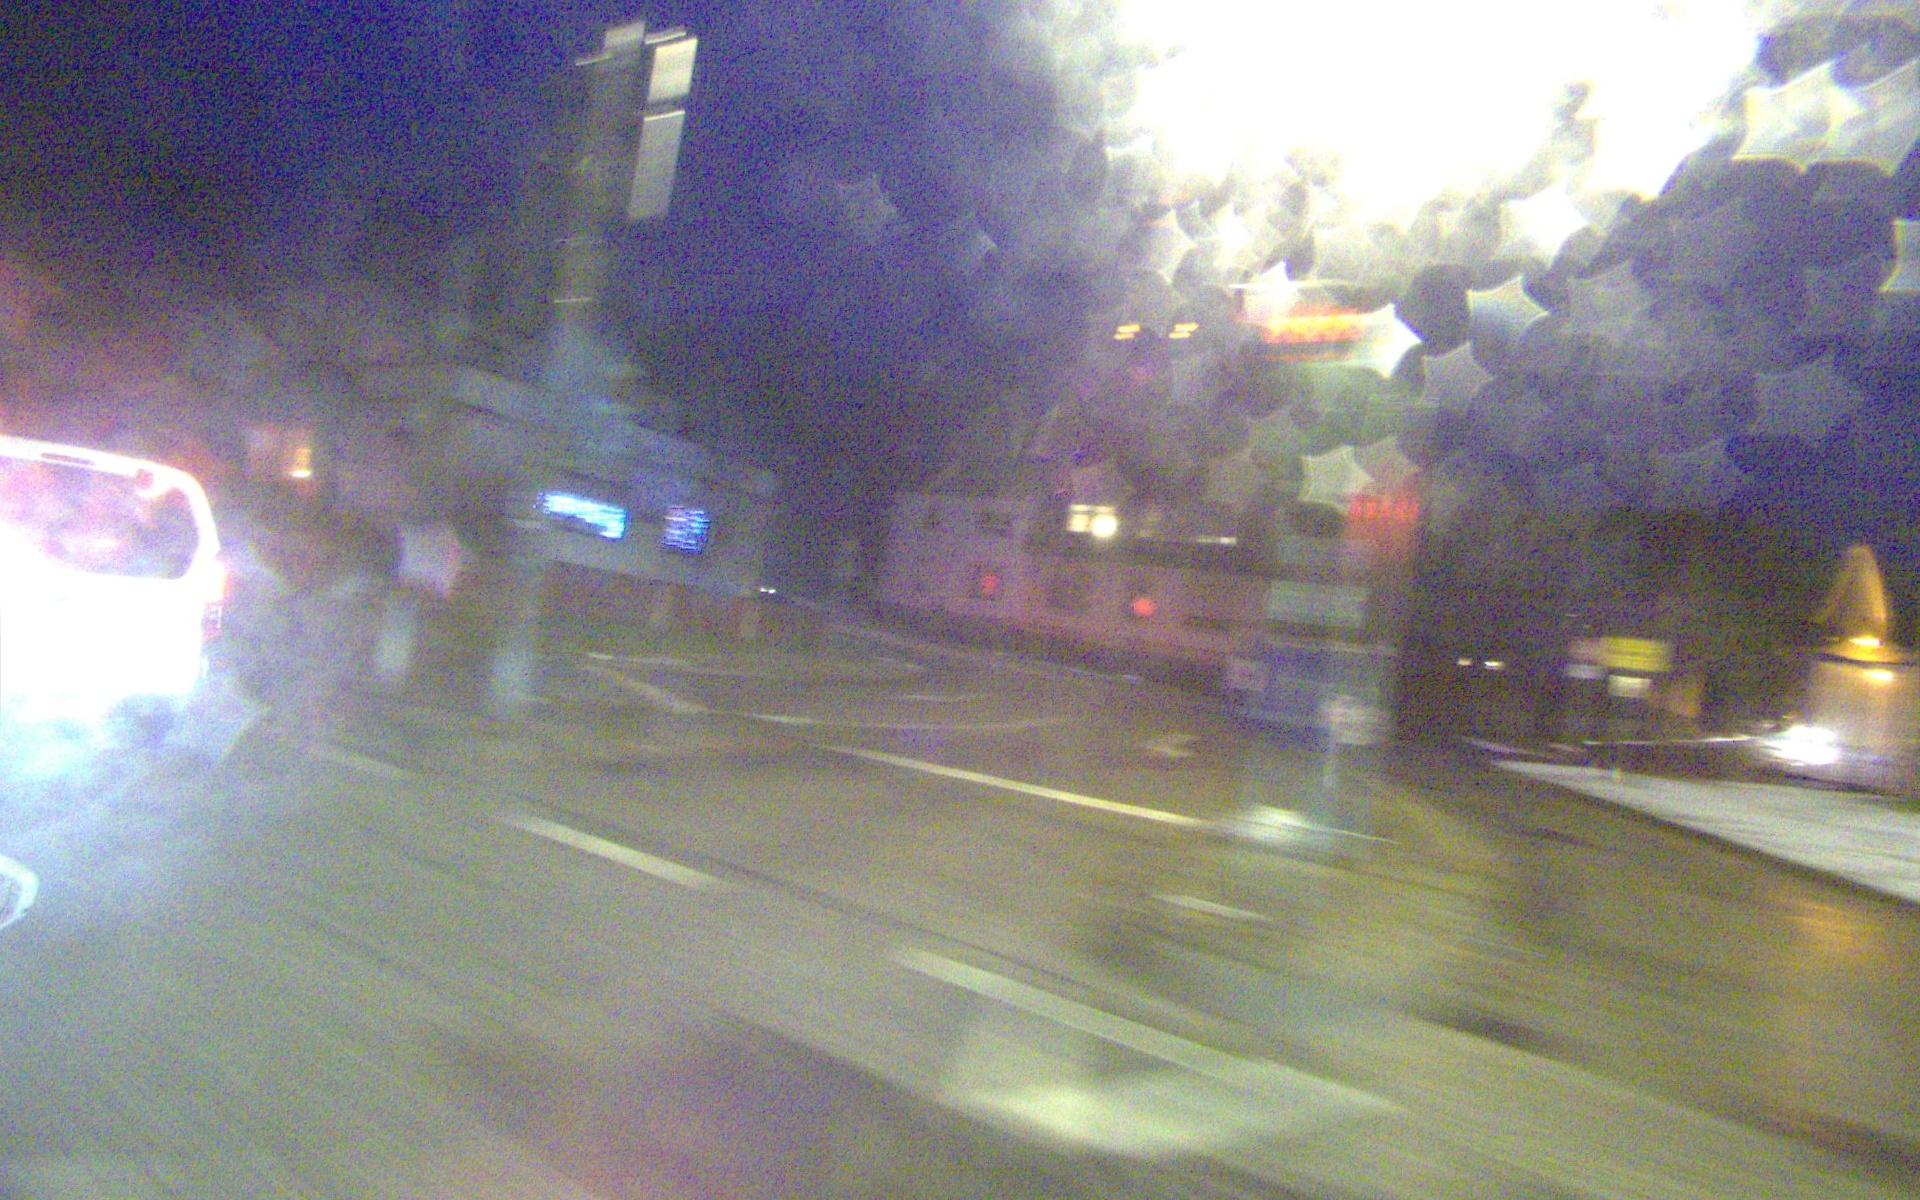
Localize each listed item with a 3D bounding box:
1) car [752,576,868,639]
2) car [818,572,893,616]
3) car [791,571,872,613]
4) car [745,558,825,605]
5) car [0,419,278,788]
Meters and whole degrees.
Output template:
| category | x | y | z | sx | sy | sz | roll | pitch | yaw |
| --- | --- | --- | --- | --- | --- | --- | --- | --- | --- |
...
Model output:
| category | x | y | z | sx | sy | sz | roll | pitch | yaw |
| --- | --- | --- | --- | --- | --- | --- | --- | --- | --- |
| car | -5.154 | 0.227 | 34.267 | 1.859 | 1.667 | 3.913 | 7 | 0 | -44 |
| car | -6.451 | -0.380 | 62.354 | 3.977 | 2.036 | 1.976 | 11 | -3 | -42 |
| car | -7.293 | -0.463 | 57.250 | 3.971 | 1.725 | 1.980 | 10 | -2 | -38 |
| car | -10.179 | -1.068 | 58.643 | 3.974 | 2.036 | 1.978 | 10 | -2 | -40 |
| car | -6.617 | -0.176 | 6.455 | 4.267 | 1.886 | 1.857 | 8 | -2 | 30 |
